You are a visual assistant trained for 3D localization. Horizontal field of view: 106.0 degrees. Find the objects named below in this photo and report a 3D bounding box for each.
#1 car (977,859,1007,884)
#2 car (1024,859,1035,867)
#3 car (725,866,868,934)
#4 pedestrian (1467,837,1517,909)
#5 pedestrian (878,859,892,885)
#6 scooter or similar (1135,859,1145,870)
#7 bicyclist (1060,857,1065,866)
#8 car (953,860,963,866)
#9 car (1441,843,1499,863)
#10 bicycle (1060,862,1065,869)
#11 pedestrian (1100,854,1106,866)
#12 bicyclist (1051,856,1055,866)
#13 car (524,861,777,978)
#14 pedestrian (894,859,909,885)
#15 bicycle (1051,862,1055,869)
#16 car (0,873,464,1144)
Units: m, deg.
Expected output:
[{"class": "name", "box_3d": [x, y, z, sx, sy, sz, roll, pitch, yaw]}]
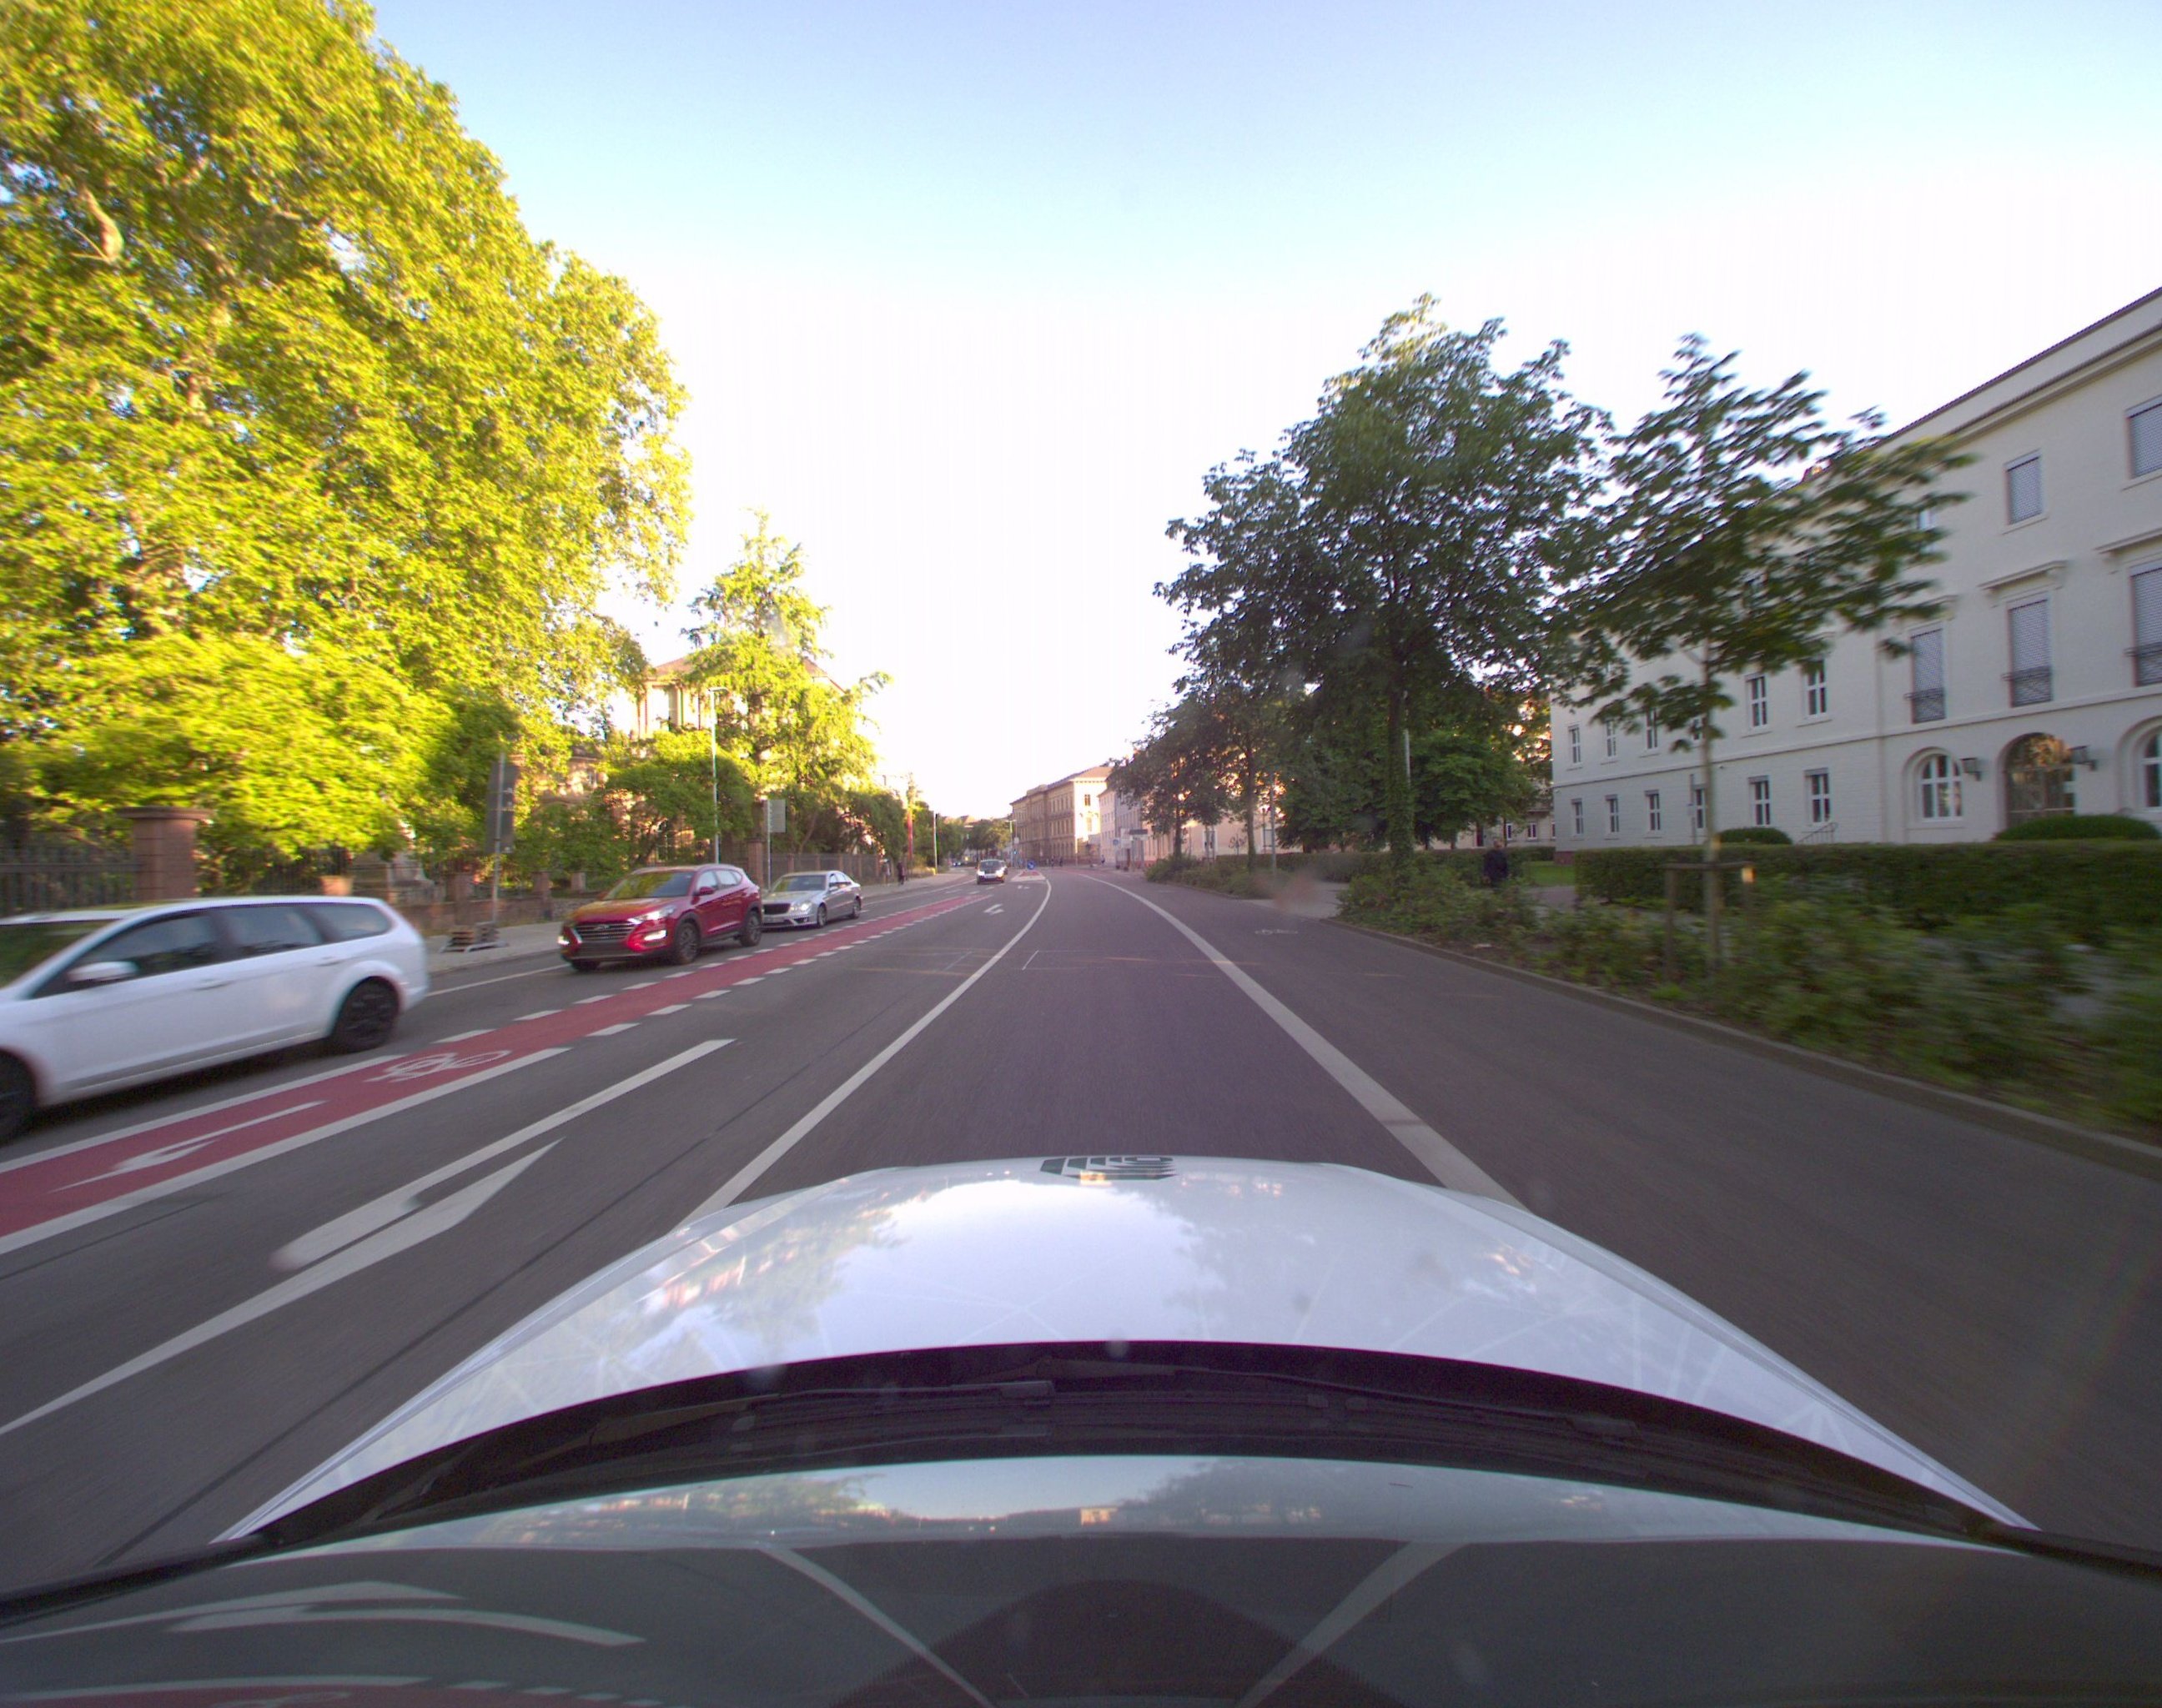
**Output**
[{"class": "car", "box_3d": [-6.007, 1.135, 54.509, 1.847, 1.526, 3.990, -3, 0, -7]}, {"class": "car", "box_3d": [-9.248, 1.626, 145.238, 1.865, 1.510, 3.992, -1, -1, -5]}, {"class": "car", "box_3d": [-7.220, 1.103, 21.275, 1.909, 1.418, 4.771, -3, 0, 1]}, {"class": "pedestrian", "box_3d": [10.202, 0.455, 20.239, 0.768, 1.739, 0.806, -2, 0, -5]}, {"class": "pedestrian", "box_3d": [-12.589, 1.156, 52.298, 0.677, 1.622, 0.689, -2, 0, 5]}, {"class": "scooter or similar", "box_3d": [6.830, 1.217, 94.046, 0.629, 1.337, 2.393, -1, -1, -8]}, {"class": "bicyclist", "box_3d": [-2.851, 1.143, 124.864, 0.650, 1.475, 0.940, 1, -1, -2]}, {"class": "car", "box_3d": [-31.467, 2.305, 208.294, 1.989, 1.585, 3.995, -1, -1, -3]}, {"class": "car", "box_3d": [34.598, -0.085, 72.574, 4.225, 1.481, 1.872, -4, -1, 2]}, {"class": "bicycle", "box_3d": [-2.865, 1.764, 124.854, 0.650, 1.015, 2.196, 1, 0, -2]}, {"class": "pedestrian", "box_3d": [3.311, 0.889, 122.791, 0.759, 1.755, 0.845, -1, -1, 2]}, {"class": "bicyclist", "box_3d": [-4.276, 1.099, 124.675, 0.650, 1.446, 0.878, 1, -1, -3]}, {"class": "car", "box_3d": [-7.349, 1.005, 14.582, 1.909, 1.624, 4.639, -3, 0, 1]}, {"class": "pedestrian", "box_3d": [-11.527, 1.162, 52.200, 0.677, 1.622, 0.690, -2, 0, 9]}, {"class": "bicycle", "box_3d": [-4.283, 1.752, 124.550, 0.650, 1.015, 2.195, 1, 0, -3]}, {"class": "car", "box_3d": [-7.560, 1.041, 6.273, 1.909, 1.583, 4.675, -3, 0, 1]}]
